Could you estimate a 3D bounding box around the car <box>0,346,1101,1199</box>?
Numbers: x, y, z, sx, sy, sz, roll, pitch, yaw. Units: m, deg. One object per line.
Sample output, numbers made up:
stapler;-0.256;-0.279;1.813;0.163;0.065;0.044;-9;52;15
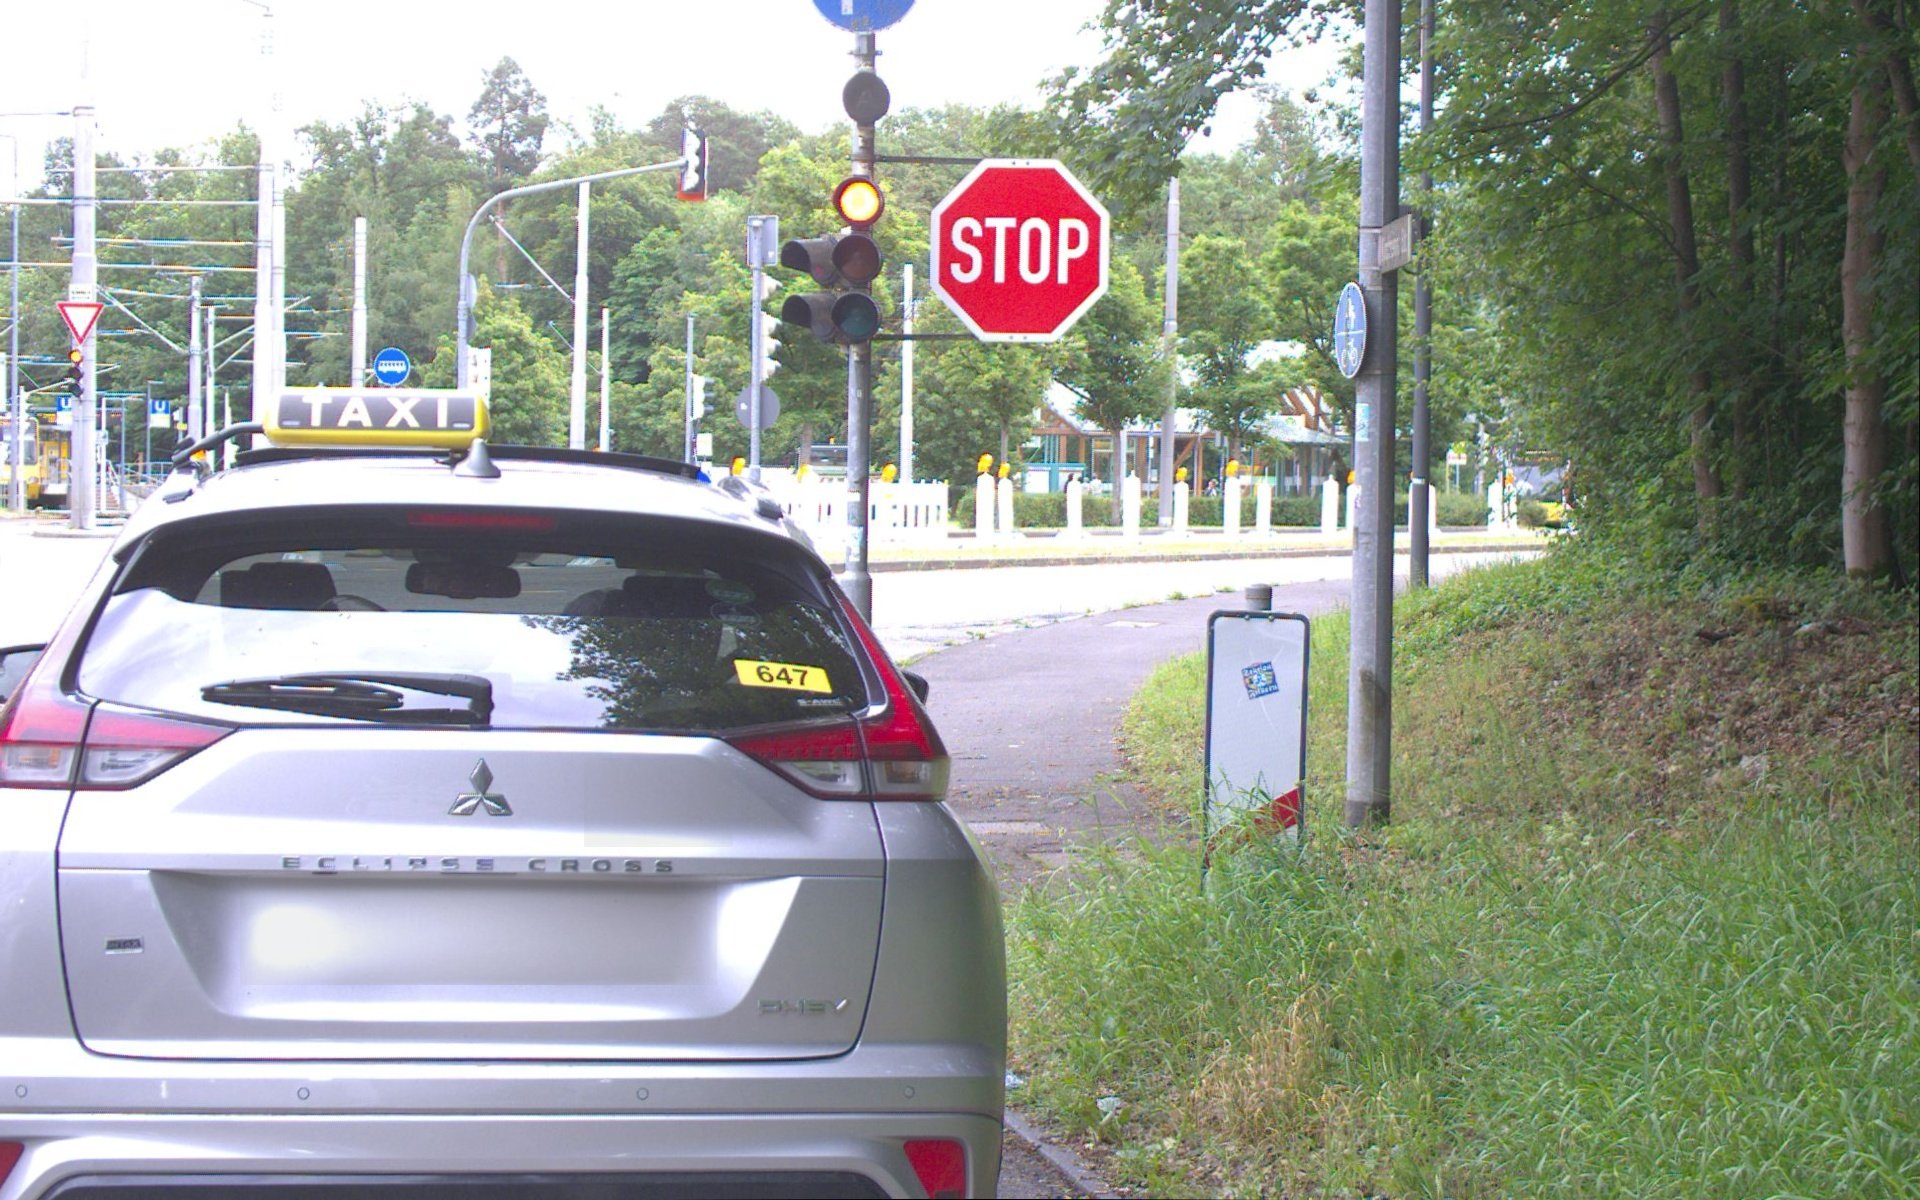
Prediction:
car;-0.993;0.472;6.834;1.773;1.742;3.782;2;2;-9
